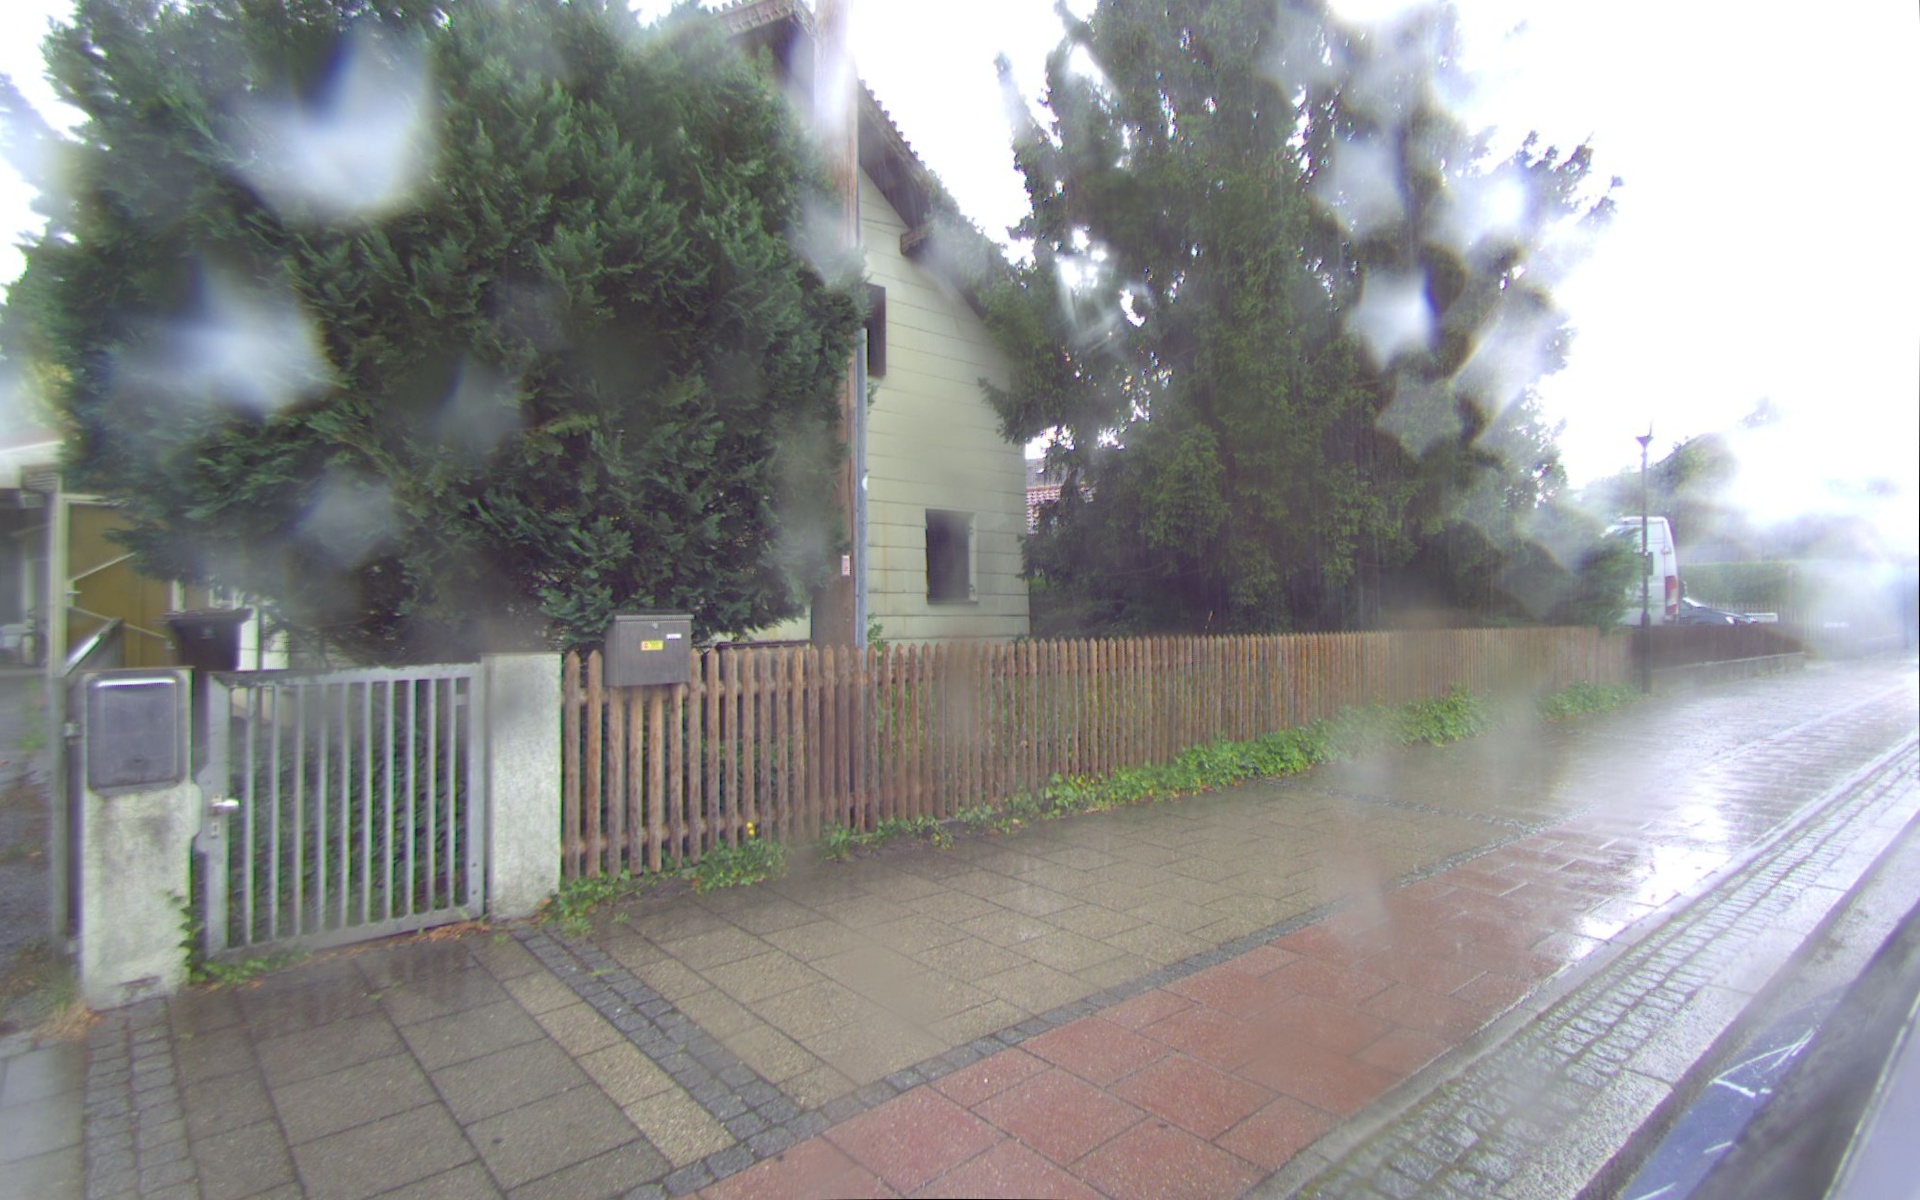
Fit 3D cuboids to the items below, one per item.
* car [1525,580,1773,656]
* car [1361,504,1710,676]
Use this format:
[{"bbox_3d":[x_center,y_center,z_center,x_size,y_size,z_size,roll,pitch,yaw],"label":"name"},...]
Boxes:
[{"bbox_3d":[15.509,0.330,22.929,4.428,1.438,1.803,3,3,42],"label":"car"},{"bbox_3d":[10.470,-0.278,18.724,5.298,2.761,1.971,3,2,41],"label":"car"}]
